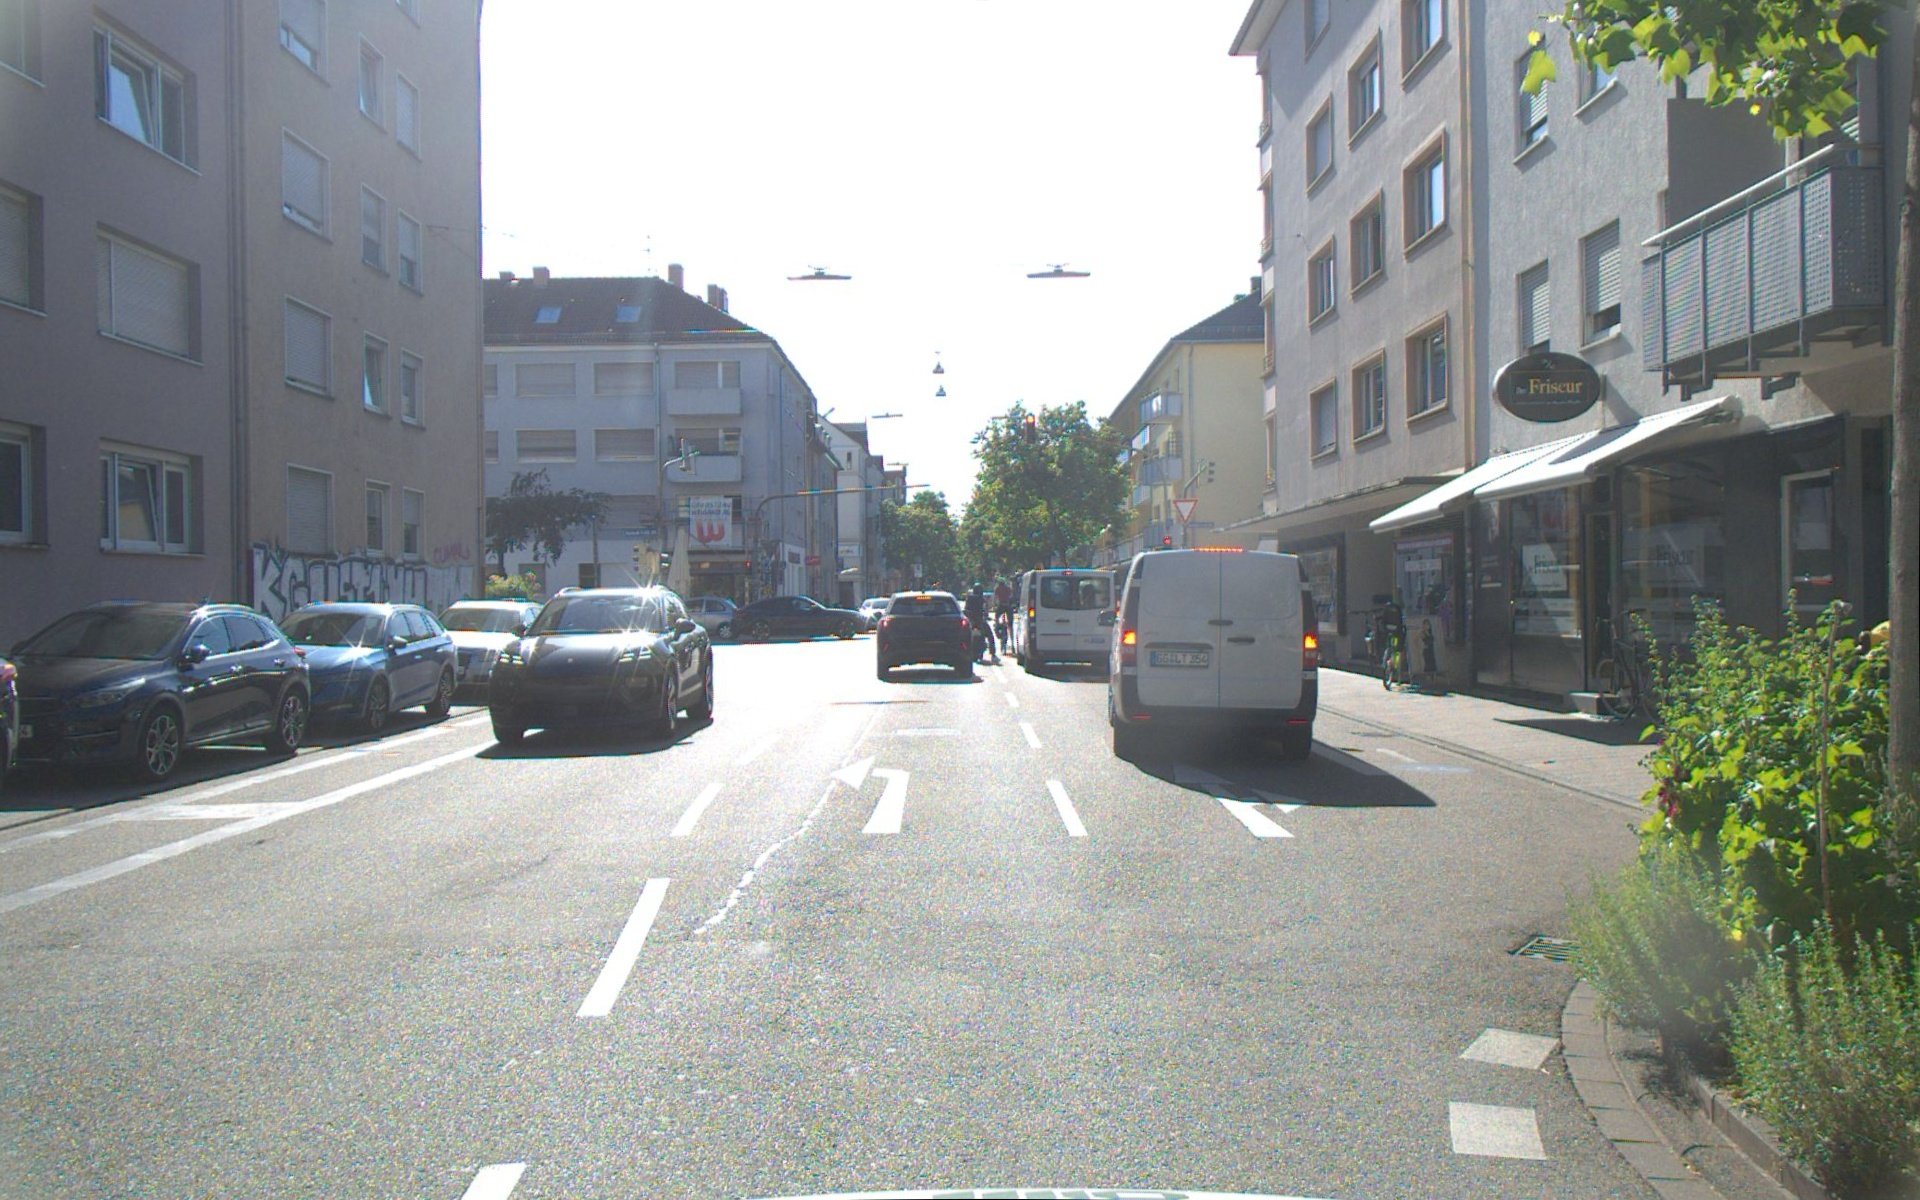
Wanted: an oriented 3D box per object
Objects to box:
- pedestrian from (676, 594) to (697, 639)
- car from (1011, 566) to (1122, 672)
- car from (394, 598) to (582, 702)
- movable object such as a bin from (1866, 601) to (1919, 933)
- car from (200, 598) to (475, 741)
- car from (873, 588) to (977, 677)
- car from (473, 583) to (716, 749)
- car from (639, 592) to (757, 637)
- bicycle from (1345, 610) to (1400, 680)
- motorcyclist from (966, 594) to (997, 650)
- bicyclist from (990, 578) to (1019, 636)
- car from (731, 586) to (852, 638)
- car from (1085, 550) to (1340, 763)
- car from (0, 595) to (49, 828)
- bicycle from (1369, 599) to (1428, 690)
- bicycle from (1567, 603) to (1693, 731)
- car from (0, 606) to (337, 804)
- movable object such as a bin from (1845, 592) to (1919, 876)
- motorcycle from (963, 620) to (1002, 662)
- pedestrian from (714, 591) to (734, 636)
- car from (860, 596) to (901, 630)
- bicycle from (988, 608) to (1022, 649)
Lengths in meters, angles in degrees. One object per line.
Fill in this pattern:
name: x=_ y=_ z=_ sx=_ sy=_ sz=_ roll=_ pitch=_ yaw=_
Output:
pedestrian: x=-10.326 y=0.624 z=62.469 sx=0.670 sy=1.693 sz=0.601 roll=-1 pitch=0 yaw=-2
car: x=2.069 y=0.352 z=33.277 sx=1.779 sy=1.955 sz=4.643 roll=-1 pitch=0 yaw=-2
car: x=-7.589 y=0.745 z=27.074 sx=1.740 sy=1.495 sz=4.758 roll=2 pitch=0 yaw=-1
movable object such as a bin: x=4.686 y=0.685 z=7.046 sx=1.261 sy=1.371 sz=1.091 roll=-1 pitch=0 yaw=-43
car: x=-7.609 y=0.773 z=20.737 sx=1.686 sy=1.523 sz=4.625 roll=2 pitch=0 yaw=0
car: x=-0.662 y=0.568 z=31.188 sx=1.807 sy=1.534 sz=3.999 roll=-1 pitch=0 yaw=-2
car: x=-4.047 y=0.667 z=19.044 sx=1.829 sy=1.642 sz=4.427 roll=-1 pitch=0 yaw=-1
car: x=-9.220 y=0.495 z=58.376 sx=3.906 sy=1.512 sz=1.726 roll=-1 pitch=0 yaw=-2
bicycle: x=7.012 y=0.751 z=28.156 sx=0.513 sy=1.138 sz=1.534 roll=-1 pitch=0 yaw=-1
motorcyclist: x=0.477 y=0.485 z=37.008 sx=0.645 sy=1.248 sz=0.694 roll=-1 pitch=0 yaw=-2
bicyclist: x=1.139 y=0.175 z=42.654 sx=0.670 sy=1.474 sz=0.940 roll=-1 pitch=0 yaw=-2
car: x=-5.604 y=0.403 z=55.446 sx=3.908 sy=1.668 sz=1.998 roll=-1 pitch=0 yaw=-4
car: x=2.388 y=0.488 z=16.805 sx=1.944 sy=1.854 sz=4.547 roll=-1 pitch=0 yaw=1
car: x=-7.691 y=0.773 z=10.013 sx=1.838 sy=1.634 sz=4.365 roll=1 pitch=0 yaw=1
bicycle: x=6.592 y=0.653 z=24.906 sx=0.465 sy=1.296 sz=1.218 roll=-4 pitch=0 yaw=-1
bicycle: x=7.140 y=0.678 z=17.715 sx=0.537 sy=1.291 sz=1.883 roll=-1 pitch=0 yaw=-1
car: x=-7.737 y=0.865 z=15.652 sx=1.952 sy=1.523 sz=4.229 roll=2 pitch=0 yaw=1
movable object such as a bin: x=5.152 y=0.648 z=8.355 sx=1.021 sy=1.371 sz=1.104 roll=-1 pitch=0 yaw=38
motorcycle: x=0.499 y=0.908 z=36.977 sx=0.791 sy=0.878 sz=1.822 roll=-1 pitch=0 yaw=-2
pedestrian: x=-9.036 y=0.518 z=63.371 sx=0.670 sy=1.692 sz=0.601 roll=-1 pitch=0 yaw=-2
car: x=-3.383 y=0.541 z=71.088 sx=1.585 sy=1.422 sz=3.731 roll=0 pitch=0 yaw=0
bicycle: x=1.144 y=0.712 z=42.497 sx=0.759 sy=1.009 sz=1.717 roll=-1 pitch=0 yaw=-2
